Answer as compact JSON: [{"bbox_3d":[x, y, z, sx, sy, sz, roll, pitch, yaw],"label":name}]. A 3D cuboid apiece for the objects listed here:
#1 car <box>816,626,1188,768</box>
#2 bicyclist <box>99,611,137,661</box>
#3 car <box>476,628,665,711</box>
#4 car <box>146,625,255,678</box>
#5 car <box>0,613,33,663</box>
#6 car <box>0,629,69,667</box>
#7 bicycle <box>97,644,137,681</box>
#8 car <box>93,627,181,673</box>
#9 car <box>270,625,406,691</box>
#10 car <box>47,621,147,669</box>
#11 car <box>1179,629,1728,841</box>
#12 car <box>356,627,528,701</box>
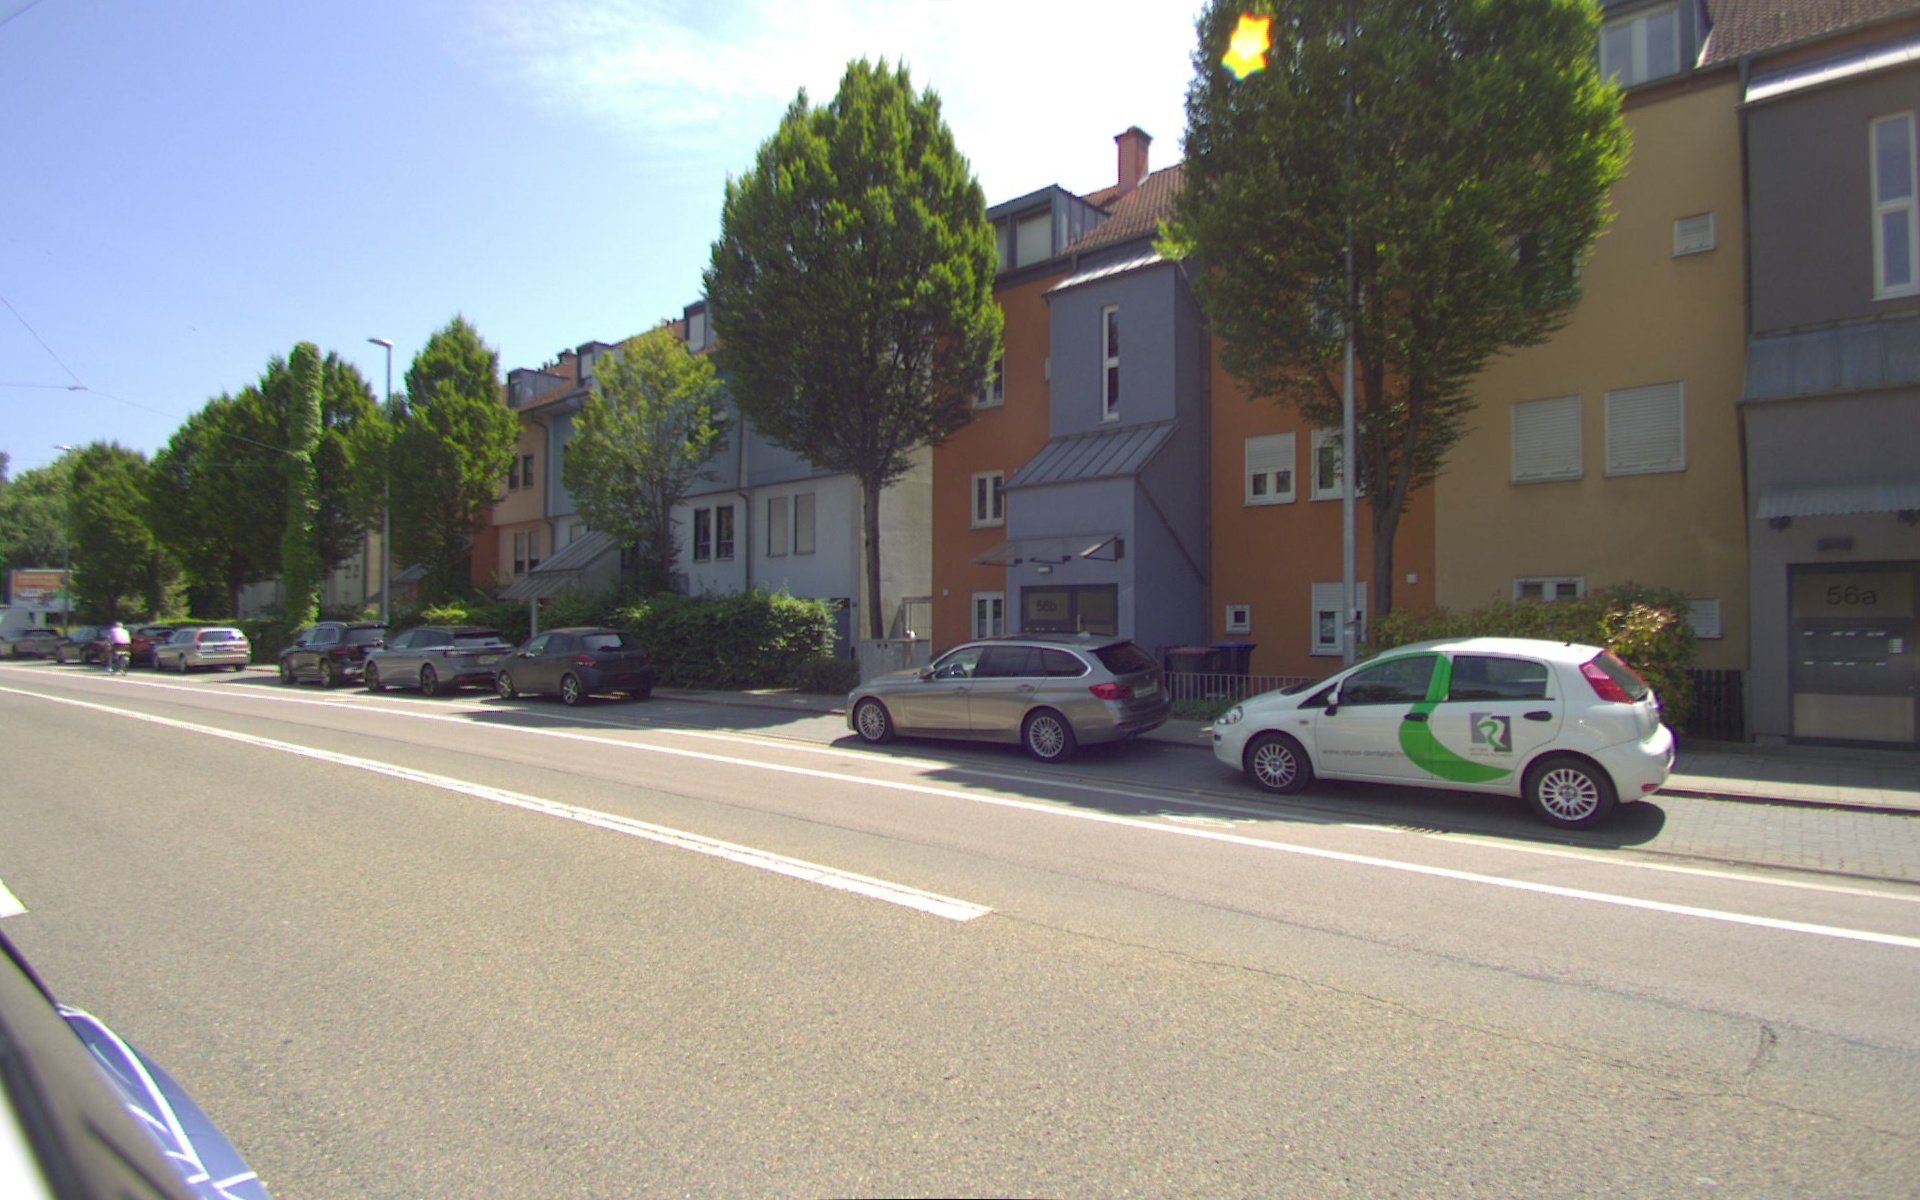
[{"bbox_3d":[0.418,1.148,13.316,4.744,1.440,1.688,-2,2,38],"label":"car"},{"bbox_3d":[-26.229,1.117,31.519,0.736,1.516,0.728,-1,-3,41],"label":"bicyclist"},{"bbox_3d":[-7.955,1.331,20.496,4.253,1.443,1.732,-2,0,40],"label":"car"},{"bbox_3d":[-25.697,1.711,34.213,4.490,1.595,1.823,-2,0,38],"label":"car"},{"bbox_3d":[-47.265,1.861,48.971,5.212,2.326,2.261,-2,-1,32],"label":"car"},{"bbox_3d":[-42.143,2.155,45.792,4.135,1.549,1.849,-2,-1,36],"label":"car"},{"bbox_3d":[-26.229,1.942,31.479,1.638,1.104,0.633,-1,-4,41],"label":"bicycle"},{"bbox_3d":[-30.564,1.843,37.565,3.673,1.606,1.586,-2,-1,35],"label":"car"},{"bbox_3d":[-16.780,1.518,27.245,4.141,1.601,1.750,-2,0,37],"label":"car"},{"bbox_3d":[-34.734,1.766,40.697,4.548,1.808,1.976,-1,-2,35],"label":"car"},{"bbox_3d":[4.525,1.086,9.703,4.417,1.453,1.728,-2,2,41],"label":"car"},{"bbox_3d":[-12.188,1.435,23.671,4.752,1.507,1.807,-2,-1,39],"label":"car"}]
